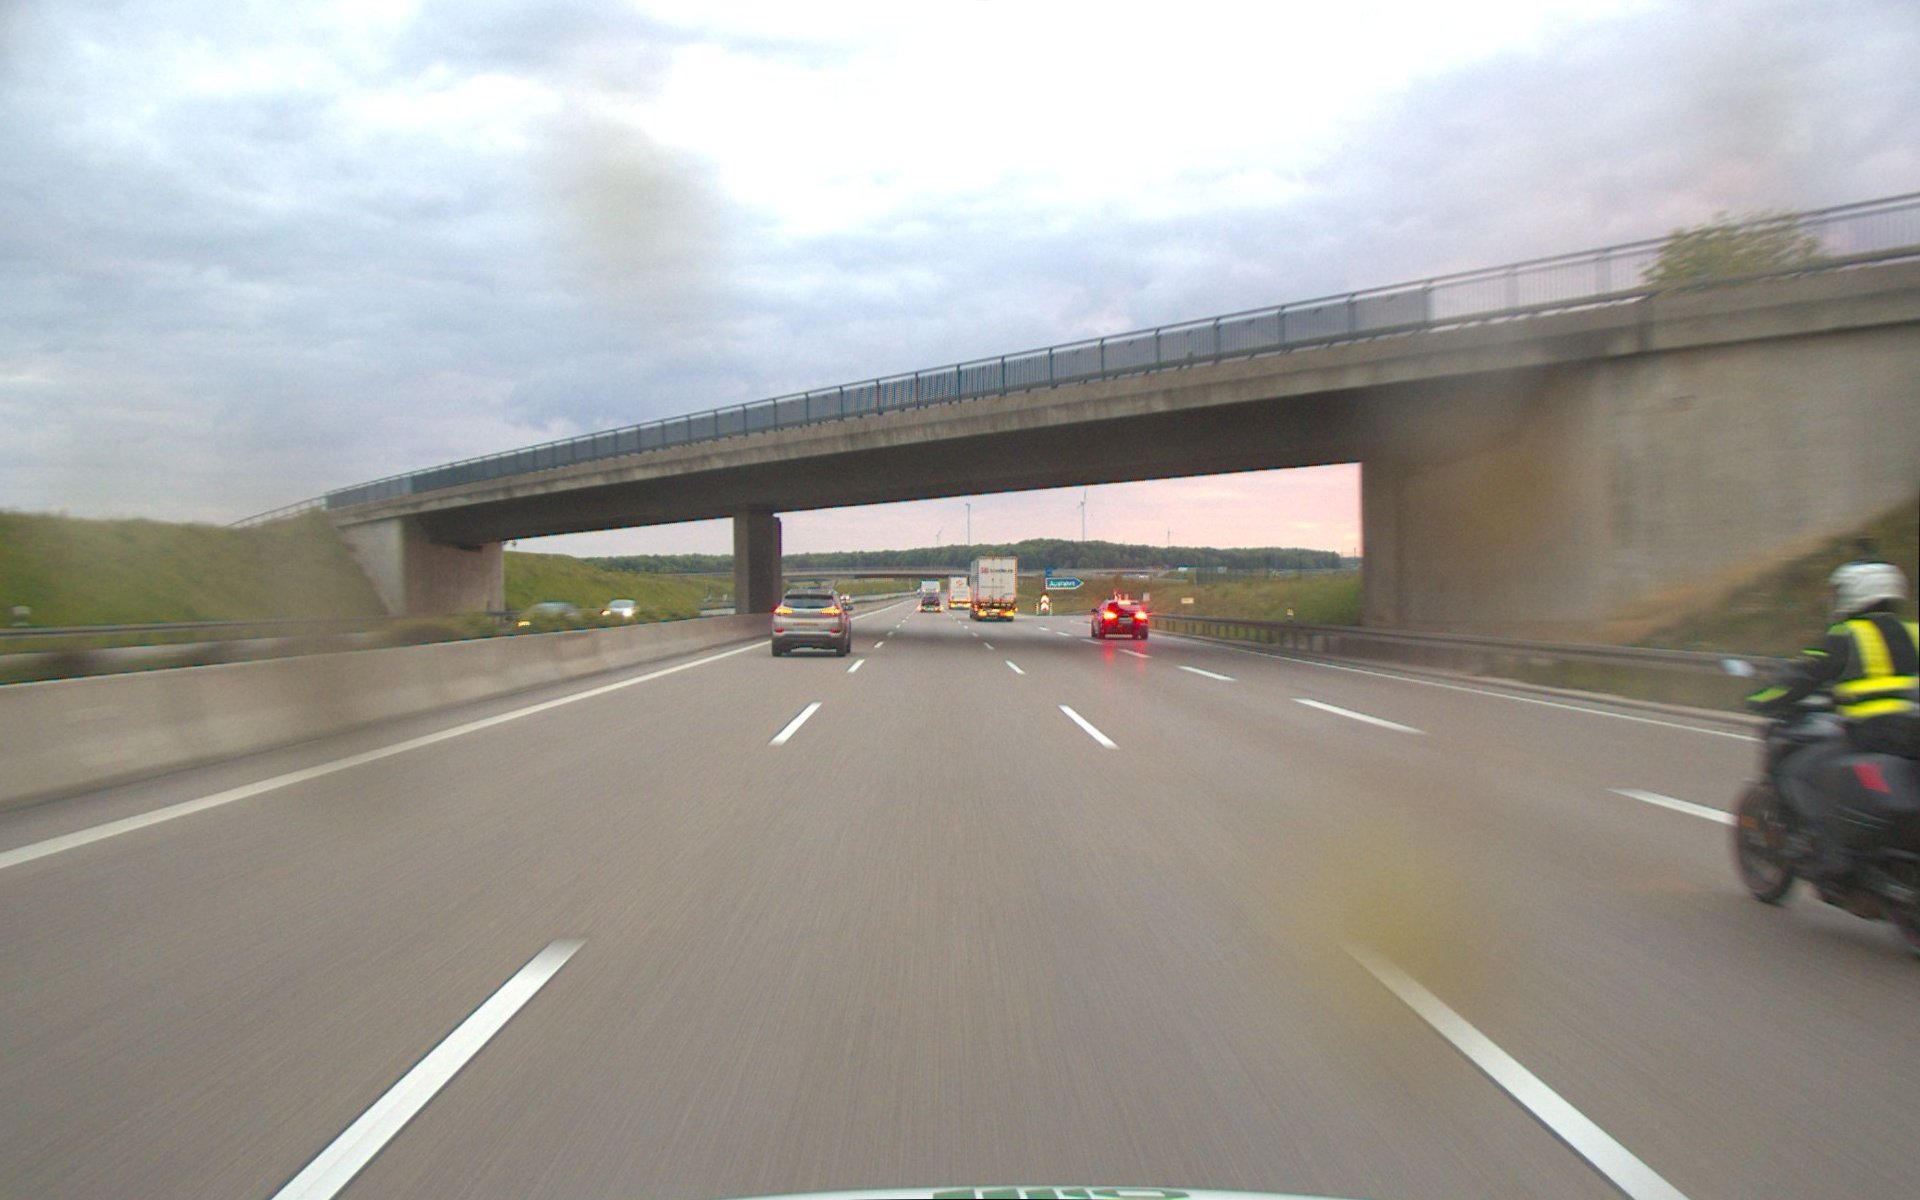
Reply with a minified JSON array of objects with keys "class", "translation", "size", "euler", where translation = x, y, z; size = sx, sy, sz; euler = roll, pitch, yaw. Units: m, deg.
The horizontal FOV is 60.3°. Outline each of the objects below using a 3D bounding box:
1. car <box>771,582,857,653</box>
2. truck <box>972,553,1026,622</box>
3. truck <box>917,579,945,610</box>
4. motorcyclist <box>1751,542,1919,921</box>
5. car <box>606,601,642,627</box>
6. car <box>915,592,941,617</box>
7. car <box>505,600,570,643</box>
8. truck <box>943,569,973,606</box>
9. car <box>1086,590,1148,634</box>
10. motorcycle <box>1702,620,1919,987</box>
[{"class":"car","translation":[-3.694,0.411,42.637],"size":[1.815,1.722,5.511],"euler":[0,0,-1]},{"class":"truck","translation":[2.510,-0.831,108.590],"size":[3.168,4.301,9.597],"euler":[1,1,-1]},{"class":"truck","translation":[-3.184,-0.609,180.806],"size":[2.892,3.273,8.403],"euler":[1,1,-2]},{"class":"motorcyclist","translation":[4.147,0.523,7.188],"size":[0.848,1.513,1.168],"euler":[1,1,0]},{"class":"car","translation":[-20.286,0.814,99.877],"size":[1.532,1.497,3.934],"euler":[0,0,-3]},{"class":"car","translation":[-3.188,0.405,164.693],"size":[2.466,2.433,6.494],"euler":[0,0,-2]},{"class":"car","translation":[-16.100,0.789,63.178],"size":[1.491,1.533,4.408],"euler":[0,0,-2]},{"class":"truck","translation":[-0.293,-1.545,205.539],"size":[3.454,4.421,8.403],"euler":[1,1,-2]},{"class":"car","translation":[5.906,0.427,62.609],"size":[1.879,1.607,3.999],"euler":[0,0,-2]},{"class":"motorcycle","translation":[4.182,0.812,7.144],"size":[0.883,1.370,2.348],"euler":[0,1,-1]}]
